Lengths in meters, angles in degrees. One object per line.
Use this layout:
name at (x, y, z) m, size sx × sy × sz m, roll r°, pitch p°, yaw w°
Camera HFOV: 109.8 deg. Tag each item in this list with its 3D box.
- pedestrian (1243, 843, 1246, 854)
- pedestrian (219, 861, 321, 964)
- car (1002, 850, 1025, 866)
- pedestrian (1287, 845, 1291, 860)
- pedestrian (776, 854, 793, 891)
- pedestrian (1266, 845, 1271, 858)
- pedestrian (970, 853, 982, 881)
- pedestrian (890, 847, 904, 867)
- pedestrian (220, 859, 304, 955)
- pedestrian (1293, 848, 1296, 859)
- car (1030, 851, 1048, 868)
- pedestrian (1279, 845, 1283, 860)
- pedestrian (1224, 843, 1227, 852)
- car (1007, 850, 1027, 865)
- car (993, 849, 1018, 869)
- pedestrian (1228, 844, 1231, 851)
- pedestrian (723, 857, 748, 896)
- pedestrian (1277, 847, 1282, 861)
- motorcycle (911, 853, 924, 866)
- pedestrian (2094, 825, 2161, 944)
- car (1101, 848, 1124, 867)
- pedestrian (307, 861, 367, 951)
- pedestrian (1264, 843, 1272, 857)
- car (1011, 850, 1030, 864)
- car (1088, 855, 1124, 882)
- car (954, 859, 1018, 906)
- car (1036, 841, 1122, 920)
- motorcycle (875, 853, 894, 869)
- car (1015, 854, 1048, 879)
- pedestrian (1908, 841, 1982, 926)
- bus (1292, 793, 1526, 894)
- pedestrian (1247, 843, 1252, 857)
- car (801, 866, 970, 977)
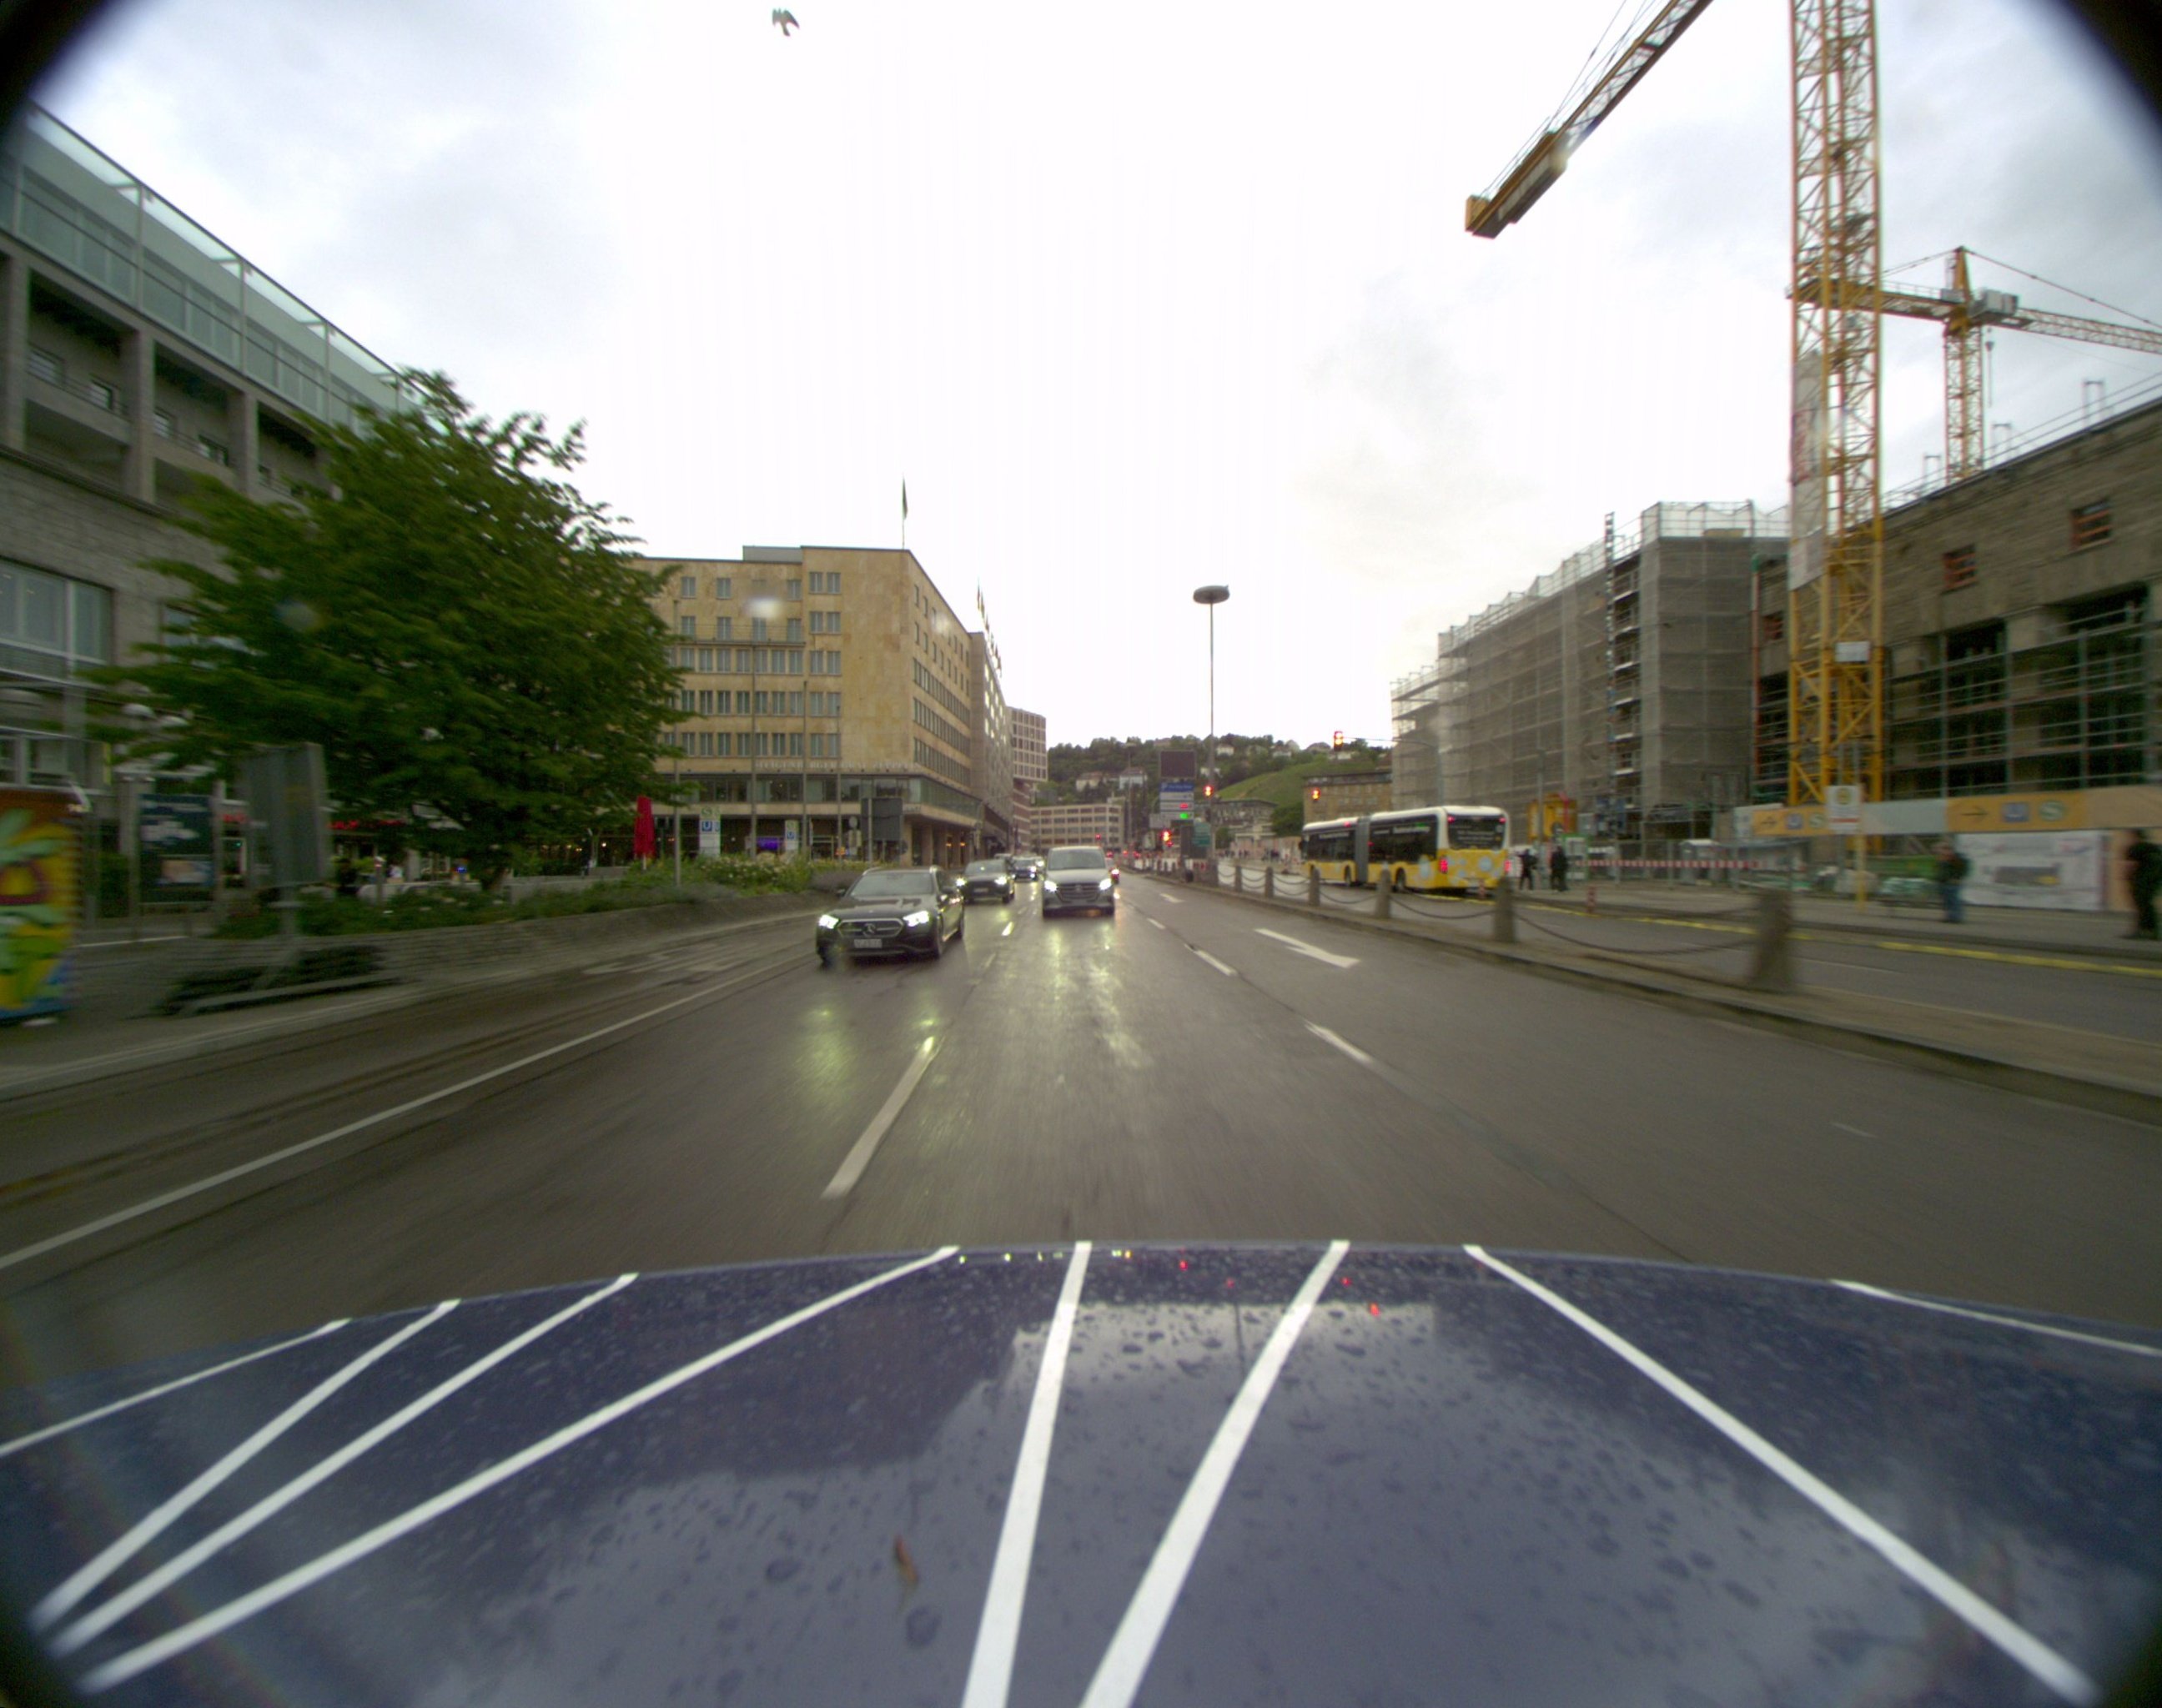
pedestrian at (23.965, -0.752, 111.315) m, size 0.438 × 1.606 × 0.413 m, roll -1°, pitch 1°, yaw -1°
pedestrian at (-14.503, 1.009, 13.623) m, size 0.642 × 1.741 × 1.076 m, roll -1°, pitch 1°, yaw -4°
car at (-7.263, 0.409, 82.165) m, size 1.999 × 1.644 × 5.133 m, roll -1°, pitch 0°, yaw -1°
pedestrian at (23.389, -0.162, 85.481) m, size 0.314 × 1.760 × 0.268 m, roll -2°, pitch 1°, yaw 2°
pedestrian at (-14.522, 0.891, 37.233) m, size 0.536 × 1.780 × 0.681 m, roll -1°, pitch 1°, yaw 1°
pedestrian at (25.171, -0.347, 101.845) m, size 0.517 × 1.745 × 0.463 m, roll -2°, pitch 1°, yaw -1°
pedestrian at (-7.203, 0.860, 52.318) m, size 0.674 × 1.908 × 0.792 m, roll -1°, pitch 1°, yaw -1°
pedestrian at (-16.985, 0.305, 70.138) m, size 1.001 × 1.836 × 1.109 m, roll 0°, pitch 1°, yaw 1°
pedestrian at (-15.579, 0.986, 14.482) m, size 0.614 × 1.741 × 0.868 m, roll -1°, pitch 1°, yaw -4°
pedestrian at (23.979, -0.022, 85.366) m, size 0.255 × 1.187 × 0.390 m, roll -2°, pitch 1°, yaw 5°
car at (-4.390, 0.570, 80.170) m, size 1.763 × 1.582 × 3.841 m, roll -2°, pitch 1°, yaw -1°
pedestrian at (22.536, -0.175, 85.604) m, size 0.311 × 1.759 × 0.346 m, roll -1°, pitch 1°, yaw 2°
pedestrian at (25.751, -1.187, 135.215) m, size 0.375 × 1.606 × 0.357 m, roll -1°, pitch 1°, yaw -1°
car at (-7.370, 0.355, 88.141) m, size 1.999 × 1.627 × 4.559 m, roll -1°, pitch 0°, yaw -1°
car at (-7.543, 0.466, 76.300) m, size 1.999 × 1.873 × 4.995 m, roll -1°, pitch 0°, yaw -1°
pedestrian at (26.431, -1.147, 135.434) m, size 0.438 × 1.233 × 0.413 m, roll -1°, pitch 1°, yaw 2°
pedestrian at (-15.446, 0.993, 33.992) m, size 0.699 × 1.741 × 0.837 m, roll -1°, pitch 1°, yaw -4°
pedestrian at (22.579, -0.010, 86.442) m, size 0.400 × 1.611 × 0.365 m, roll -2°, pitch 1°, yaw 3°
motorcycle at (-16.503, 0.541, 76.785) m, size 0.730 × 1.223 × 2.536 m, roll -1°, pitch 1°, yaw -1°
pedestrian at (18.044, 0.481, 12.847) m, size 0.761 × 1.947 × 0.822 m, roll -1°, pitch 1°, yaw -5°
car at (2.656, 0.308, 64.974) m, size 1.672 × 1.513 × 3.724 m, roll -2°, pitch 1°, yaw -1°
pedestrian at (-14.806, 1.011, 15.132) m, size 0.568 × 1.741 × 0.567 m, roll -1°, pitch 1°, yaw -4°
pedestrian at (23.392, -0.516, 95.115) m, size 0.807 × 1.675 × 0.617 m, roll -1°, pitch 1°, yaw 2°
car at (-7.435, 0.323, 94.173) m, size 1.999 × 1.600 × 4.875 m, roll -1°, pitch 0°, yaw -1°
car at (1.331, 0.748, 41.933) m, size 1.747 × 1.369 × 3.999 m, roll -1°, pitch 0°, yaw -1°
car at (-3.435, 0.990, 28.173) m, size 1.877 × 1.499 × 4.163 m, roll -1°, pitch 0°, yaw -1°
car at (-0.191, 0.647, 21.645) m, size 1.999 × 1.893 × 5.248 m, roll -2°, pitch 1°, yaw -4°
motorcycle at (-18.069, 0.635, 69.882) m, size 0.964 × 1.444 × 2.850 m, roll -1°, pitch 1°, yaw -1°
car at (-3.281, 0.830, 50.762) m, size 1.999 × 1.549 × 3.907 m, roll -1°, pitch 1°, yaw -1°
pedestrian at (18.521, 0.623, 16.304) m, size 0.700 × 1.780 × 0.794 m, roll -1°, pitch 1°, yaw 9°
bus at (14.180, -0.460, 36.277) m, size 2.917 × 3.557 × 19.074 m, roll 0°, pitch 1°, yaw 0°
pedestrian at (24.748, -0.599, 111.795) m, size 0.593 × 2.022 × 0.686 m, roll -1°, pitch 1°, yaw -1°
car at (-3.192, 1.027, 13.442) m, size 1.823 × 1.455 × 4.699 m, roll -2°, pitch 0°, yaw -1°
